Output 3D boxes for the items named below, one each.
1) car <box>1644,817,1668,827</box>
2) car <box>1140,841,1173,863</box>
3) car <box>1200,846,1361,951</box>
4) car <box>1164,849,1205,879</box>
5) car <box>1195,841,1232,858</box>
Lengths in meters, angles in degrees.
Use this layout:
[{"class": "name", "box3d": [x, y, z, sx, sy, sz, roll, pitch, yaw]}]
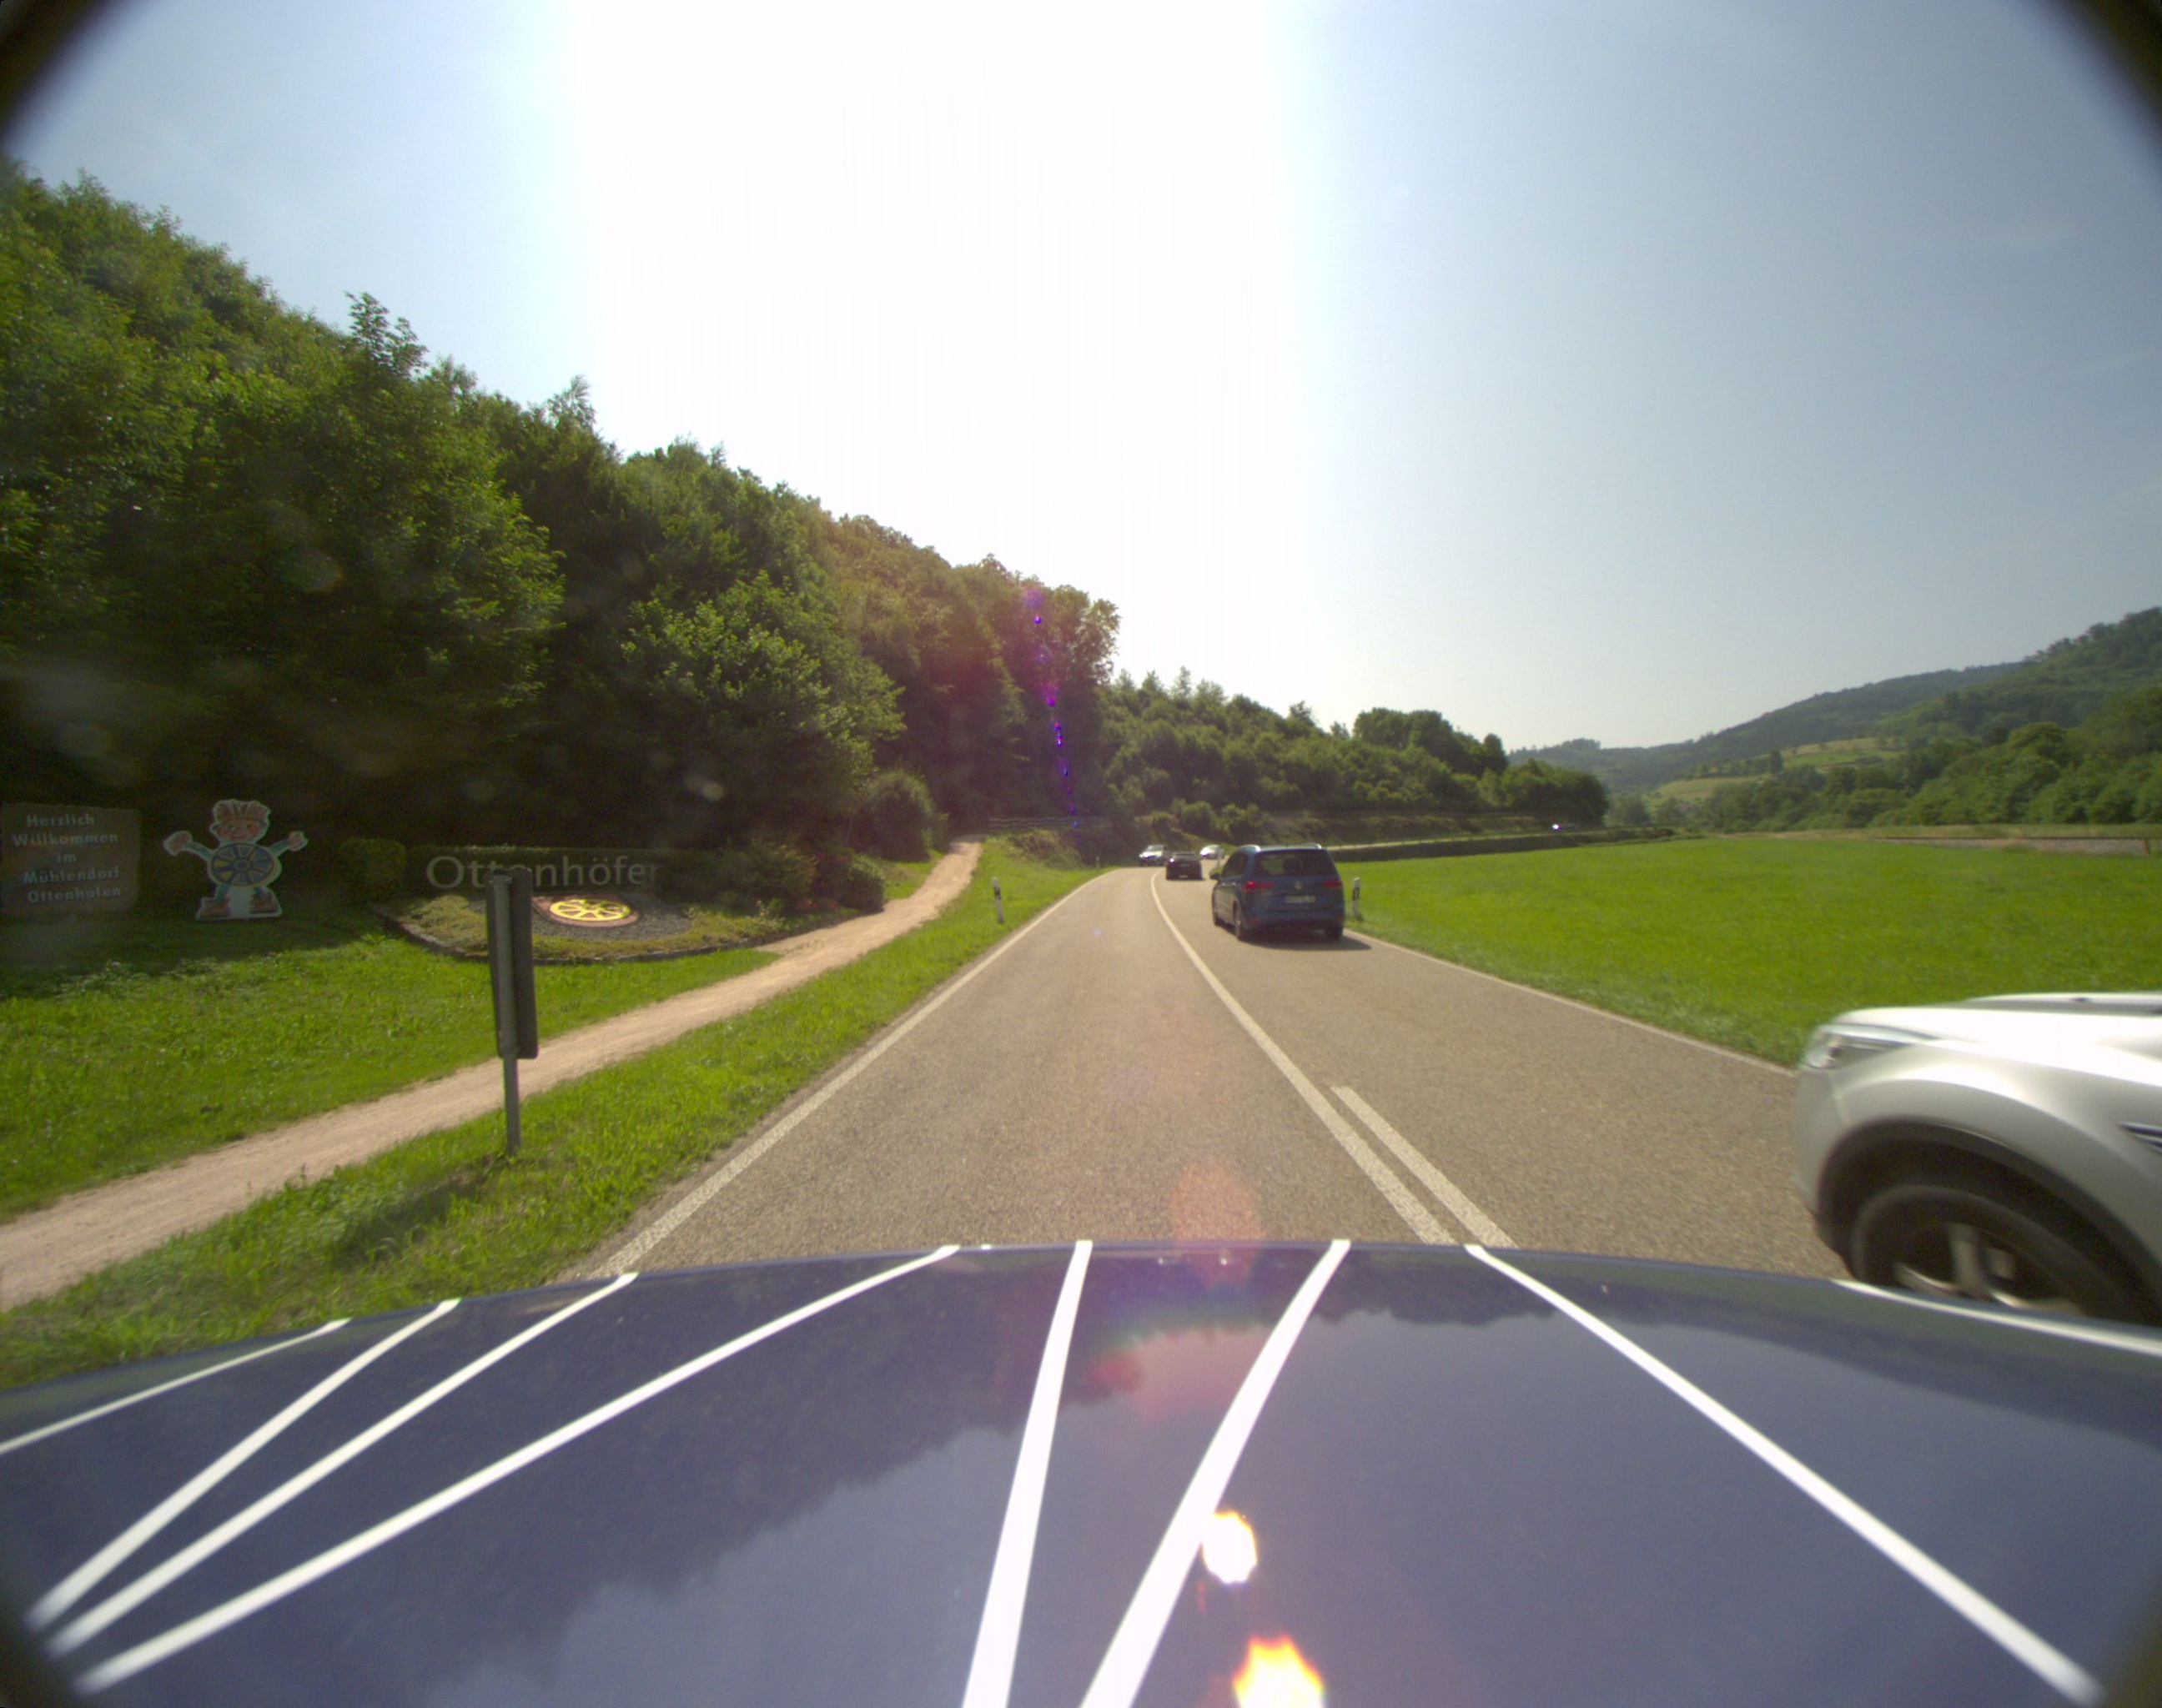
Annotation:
[{"class": "car", "box3d": [111.775, -6.229, 147.736, 4.903, 1.730, 1.951, -2, 1, -30]}, {"class": "car", "box3d": [6.419, -0.171, 64.238, 2.115, 1.803, 4.460, -2, 0, 15]}, {"class": "car", "box3d": [3.514, 0.688, 14.300, 1.870, 1.614, 4.510, -2, 1, 1]}, {"class": "car", "box3d": [5.472, 0.500, 40.610, 1.920, 1.462, 4.511, -2, 1, 5]}, {"class": "car", "box3d": [14.132, -0.530, 80.896, 2.142, 1.482, 4.680, -5, 0, 32]}]
